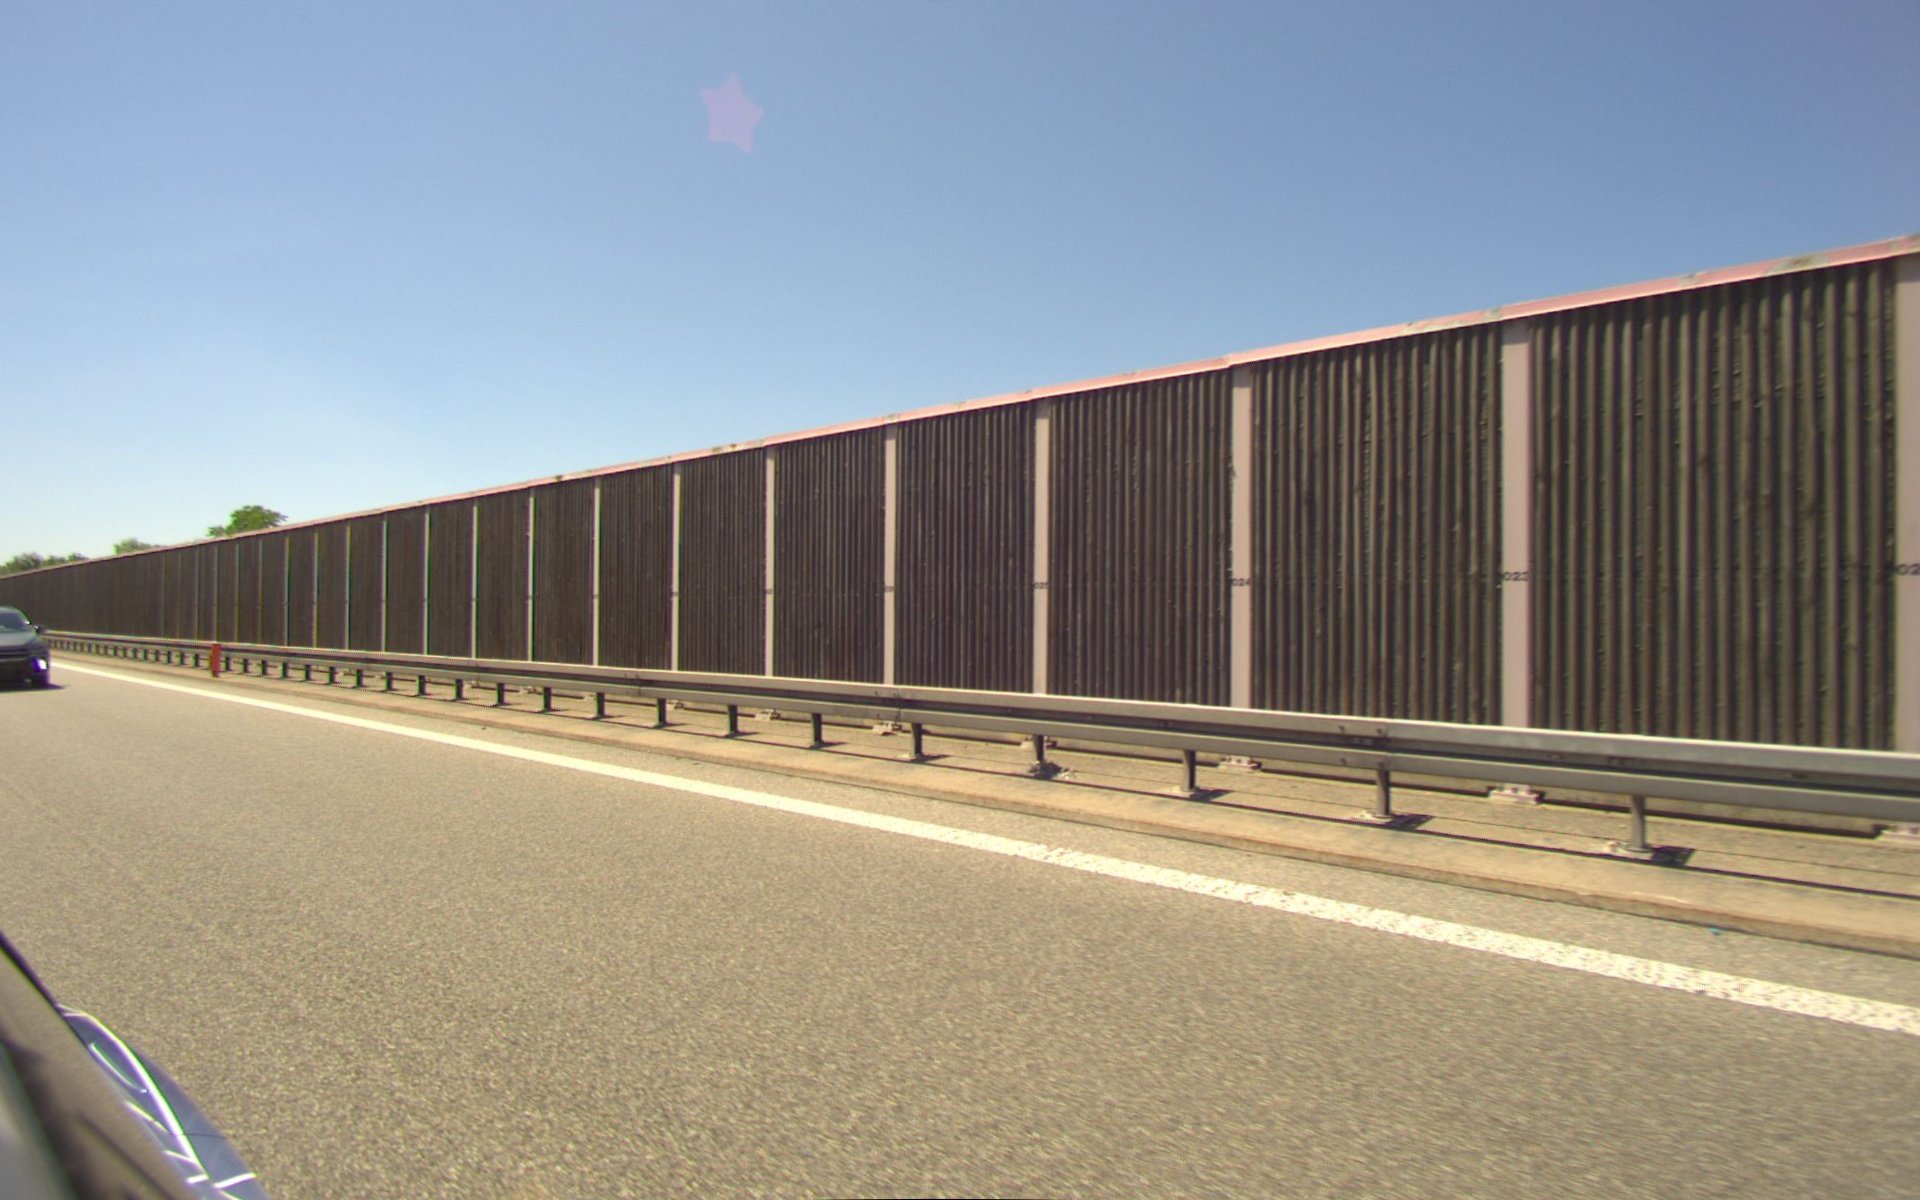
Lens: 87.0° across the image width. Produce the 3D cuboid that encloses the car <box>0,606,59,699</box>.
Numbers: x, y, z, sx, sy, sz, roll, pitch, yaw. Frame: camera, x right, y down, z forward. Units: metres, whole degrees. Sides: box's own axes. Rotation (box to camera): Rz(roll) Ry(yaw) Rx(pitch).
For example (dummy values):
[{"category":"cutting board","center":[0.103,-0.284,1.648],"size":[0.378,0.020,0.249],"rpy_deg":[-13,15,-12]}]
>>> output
[{"category":"car","center":[-19.189,0.996,19.587],"size":[5.004,1.652,1.861],"rpy_deg":[-2,-2,39]}]
